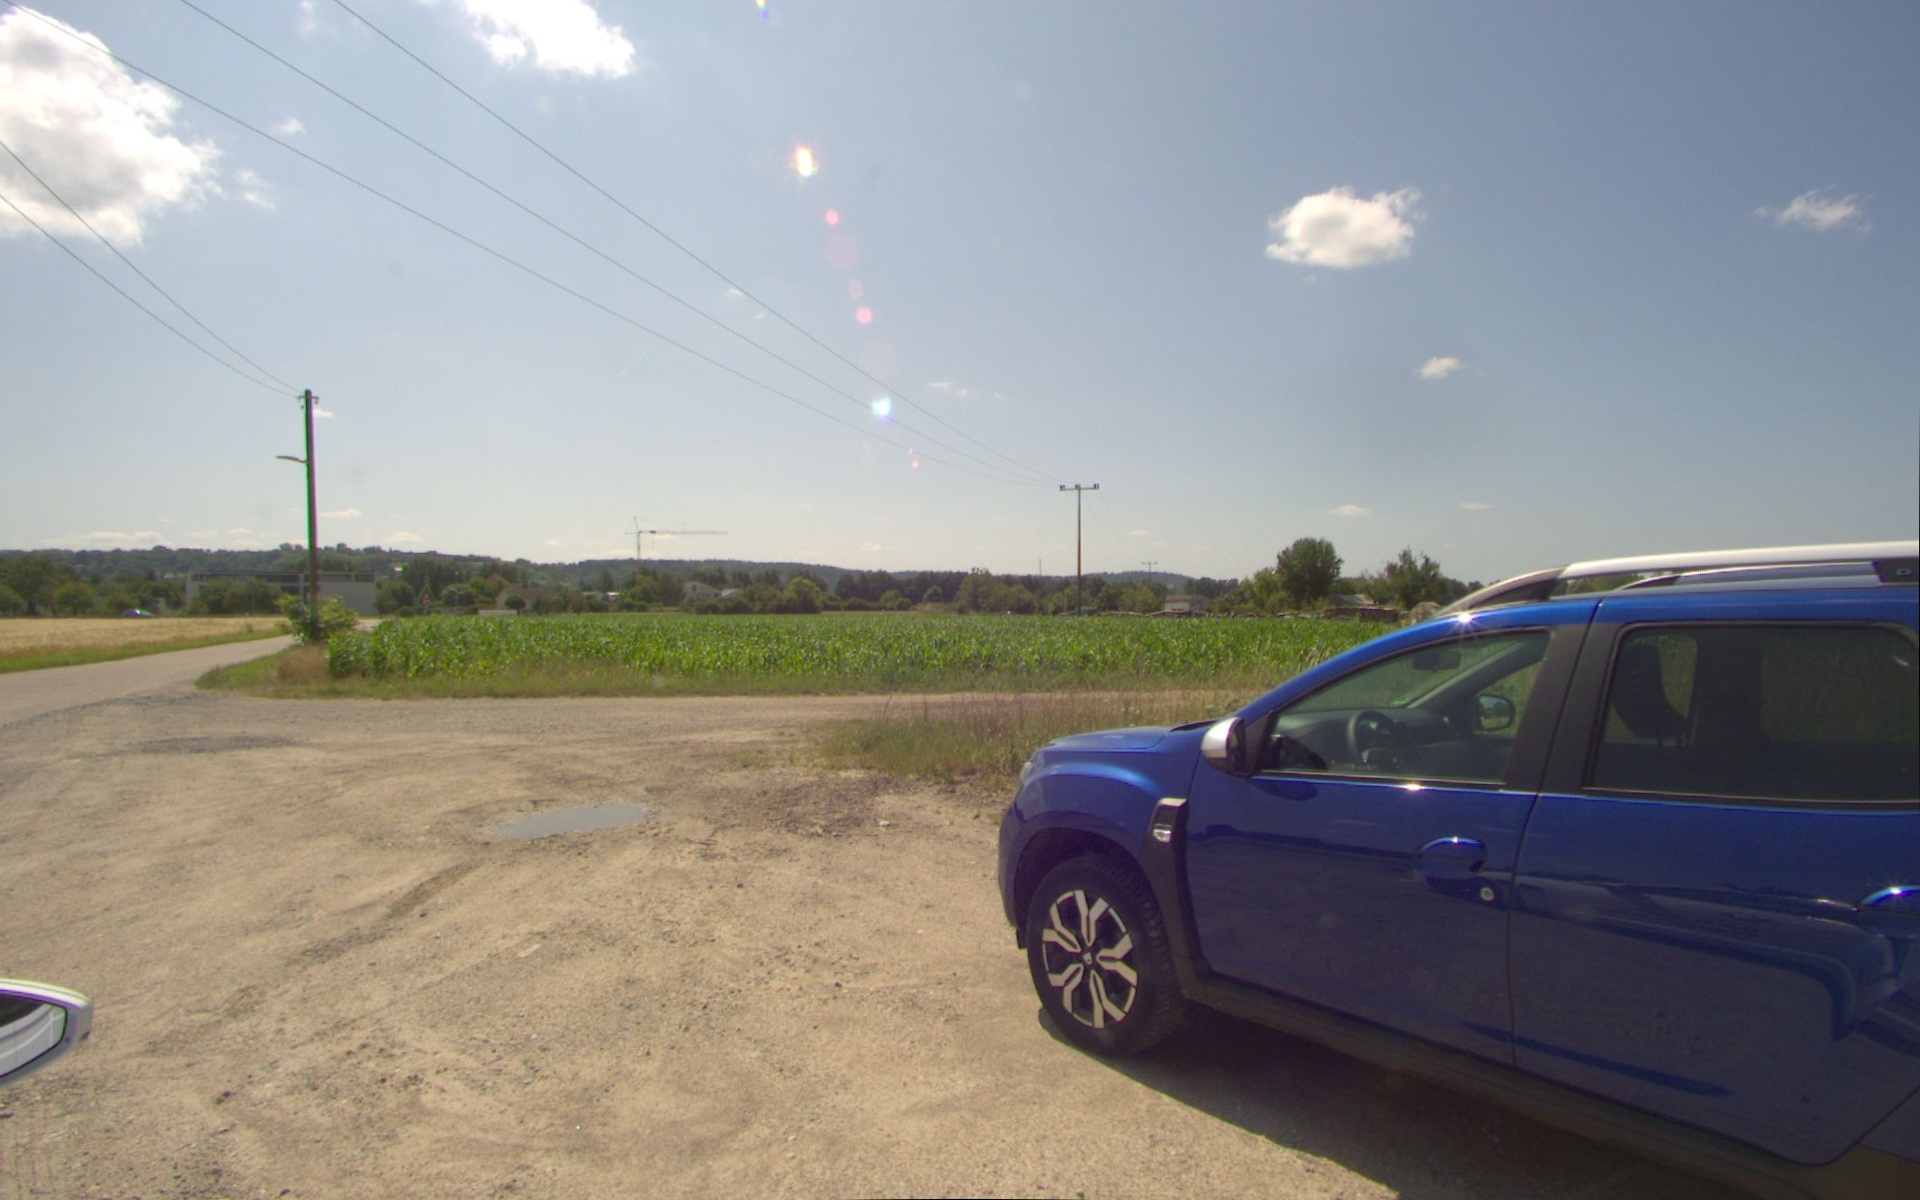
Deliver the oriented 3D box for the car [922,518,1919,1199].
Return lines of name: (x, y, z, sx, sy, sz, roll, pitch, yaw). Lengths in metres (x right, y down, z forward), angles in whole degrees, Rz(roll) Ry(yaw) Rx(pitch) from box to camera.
car: (1.928, 0.728, 3.039, 1.843, 1.682, 4.423, 1, -2, -38)
